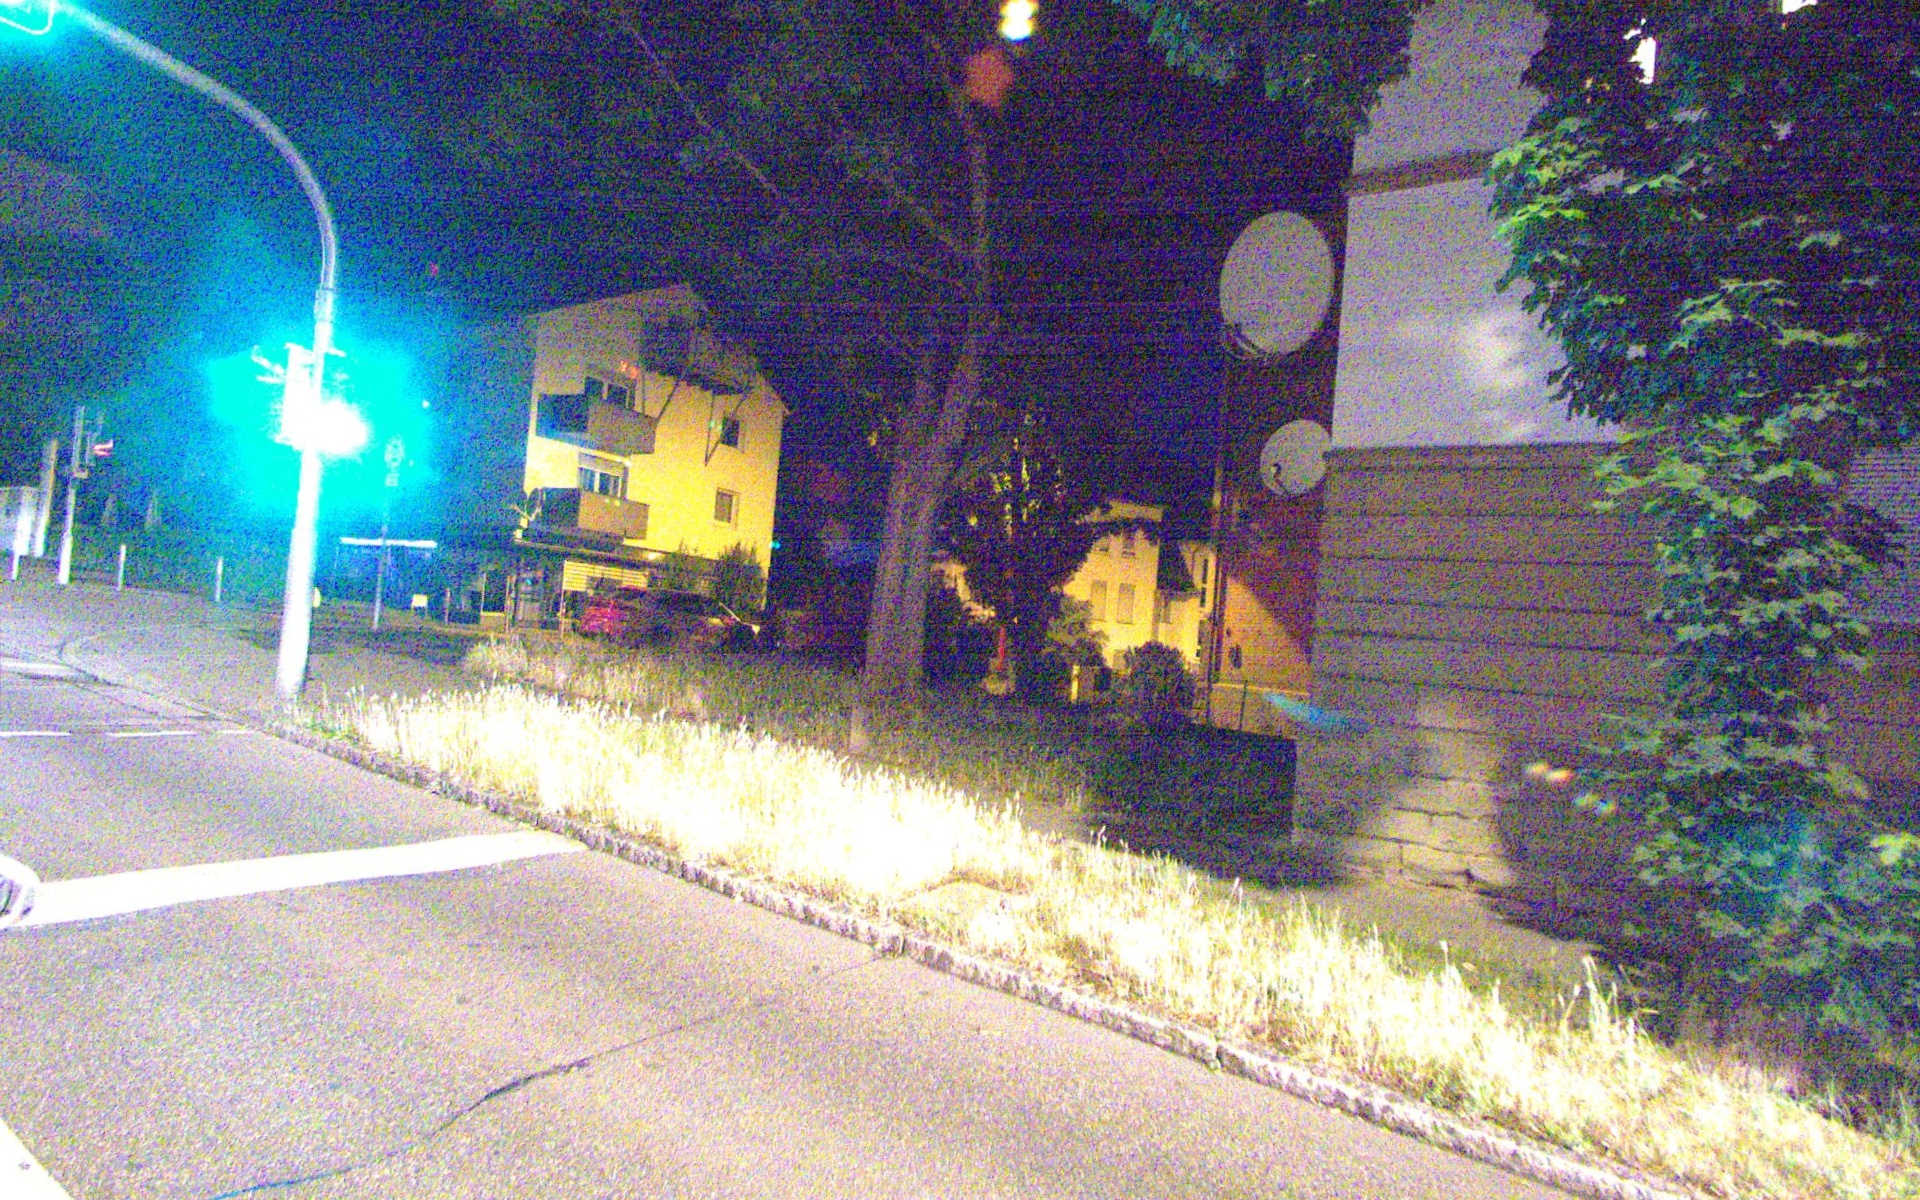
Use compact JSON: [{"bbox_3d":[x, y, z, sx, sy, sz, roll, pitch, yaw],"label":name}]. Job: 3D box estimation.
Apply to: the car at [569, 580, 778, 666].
[{"bbox_3d":[-6.507,0.586,23.297,1.778,1.577,4.366,3,-3,38],"label":"car"}]
